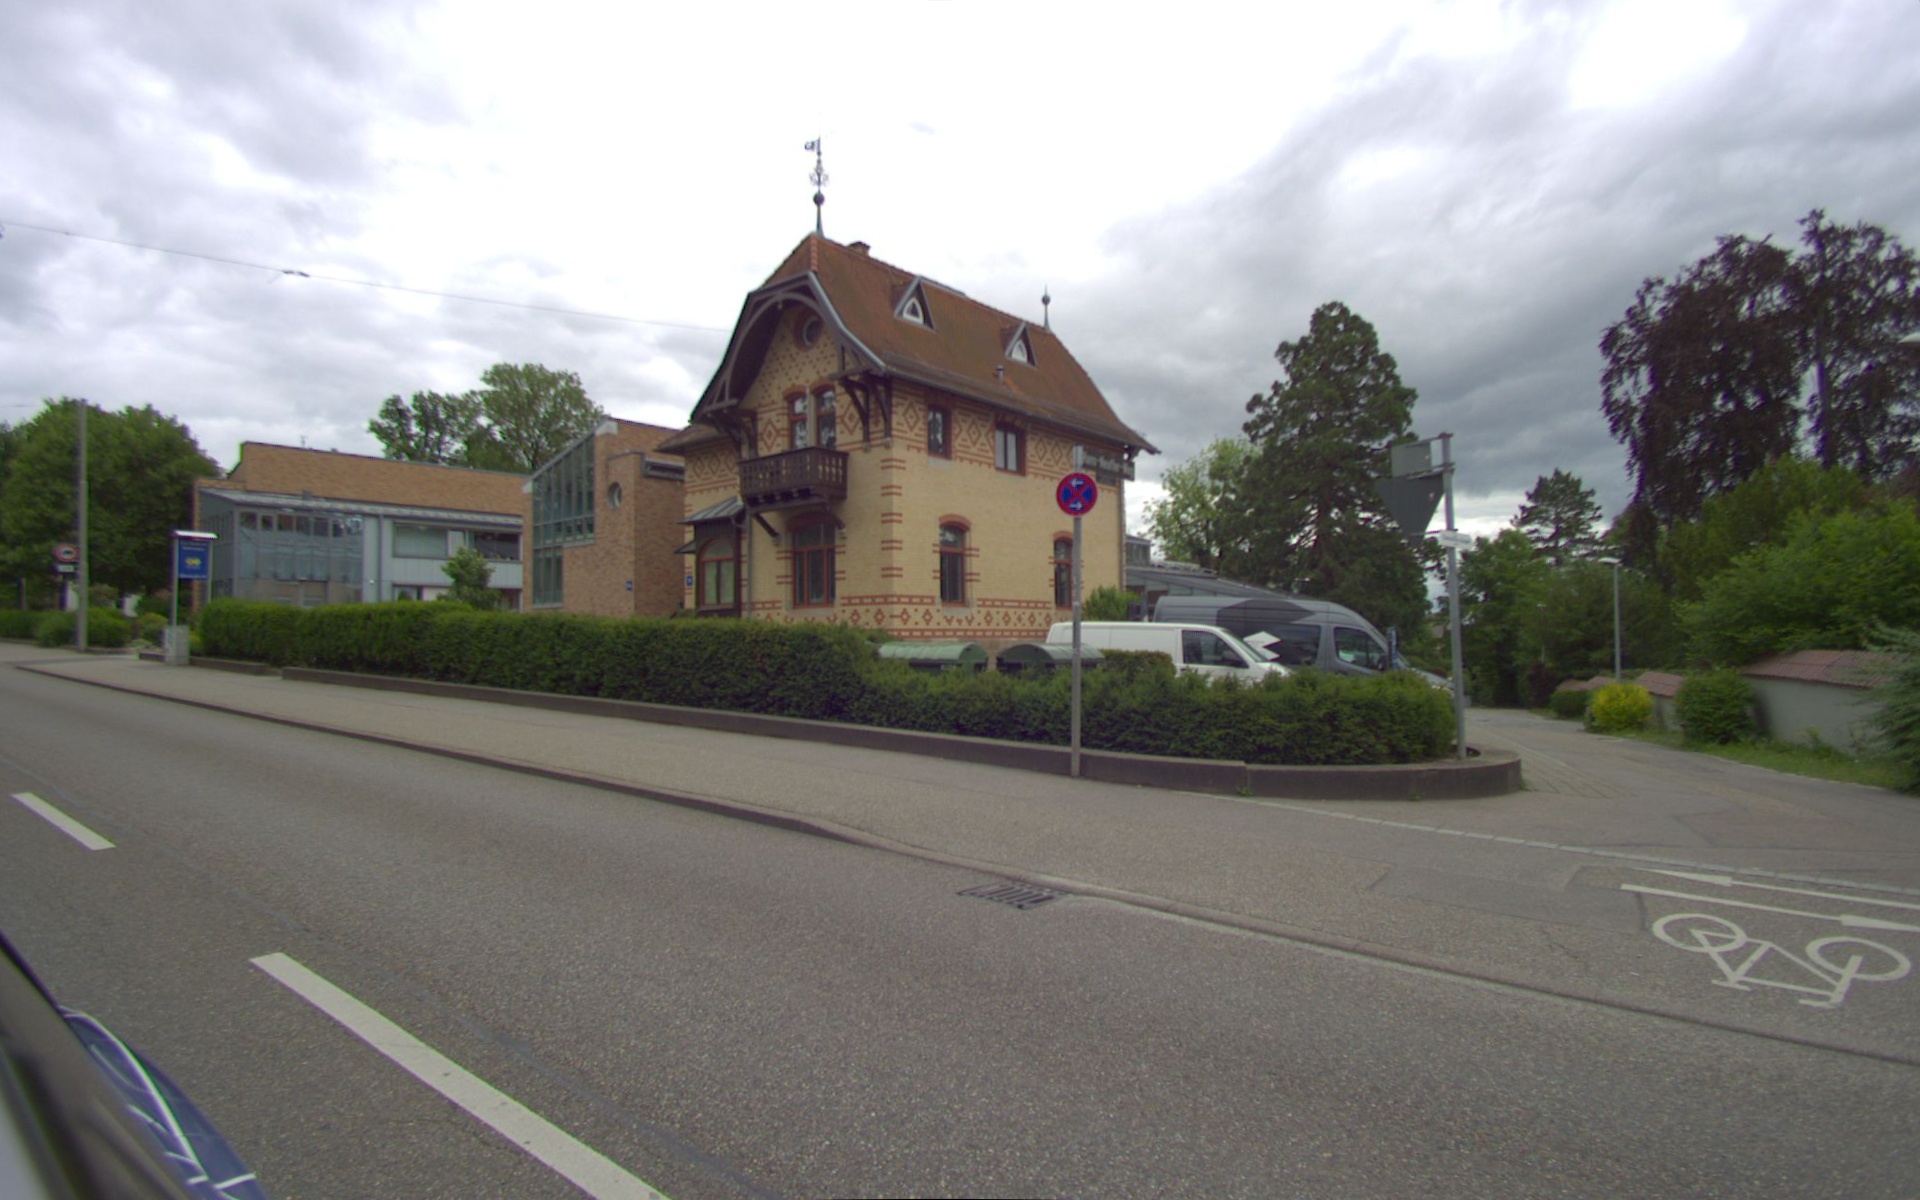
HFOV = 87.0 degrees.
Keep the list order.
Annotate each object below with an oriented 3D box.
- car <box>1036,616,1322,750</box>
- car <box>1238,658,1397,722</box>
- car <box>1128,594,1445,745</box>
[{"bbox_3d":[3.800,1.349,17.780,4.596,2.085,1.876,-1,-2,29],"label":"car"},{"bbox_3d":[9.504,2.339,26.975,3.785,1.488,1.660,-1,-2,29],"label":"car"},{"bbox_3d":[6.335,1.274,19.860,5.689,2.639,1.983,-1,-2,26],"label":"car"}]
